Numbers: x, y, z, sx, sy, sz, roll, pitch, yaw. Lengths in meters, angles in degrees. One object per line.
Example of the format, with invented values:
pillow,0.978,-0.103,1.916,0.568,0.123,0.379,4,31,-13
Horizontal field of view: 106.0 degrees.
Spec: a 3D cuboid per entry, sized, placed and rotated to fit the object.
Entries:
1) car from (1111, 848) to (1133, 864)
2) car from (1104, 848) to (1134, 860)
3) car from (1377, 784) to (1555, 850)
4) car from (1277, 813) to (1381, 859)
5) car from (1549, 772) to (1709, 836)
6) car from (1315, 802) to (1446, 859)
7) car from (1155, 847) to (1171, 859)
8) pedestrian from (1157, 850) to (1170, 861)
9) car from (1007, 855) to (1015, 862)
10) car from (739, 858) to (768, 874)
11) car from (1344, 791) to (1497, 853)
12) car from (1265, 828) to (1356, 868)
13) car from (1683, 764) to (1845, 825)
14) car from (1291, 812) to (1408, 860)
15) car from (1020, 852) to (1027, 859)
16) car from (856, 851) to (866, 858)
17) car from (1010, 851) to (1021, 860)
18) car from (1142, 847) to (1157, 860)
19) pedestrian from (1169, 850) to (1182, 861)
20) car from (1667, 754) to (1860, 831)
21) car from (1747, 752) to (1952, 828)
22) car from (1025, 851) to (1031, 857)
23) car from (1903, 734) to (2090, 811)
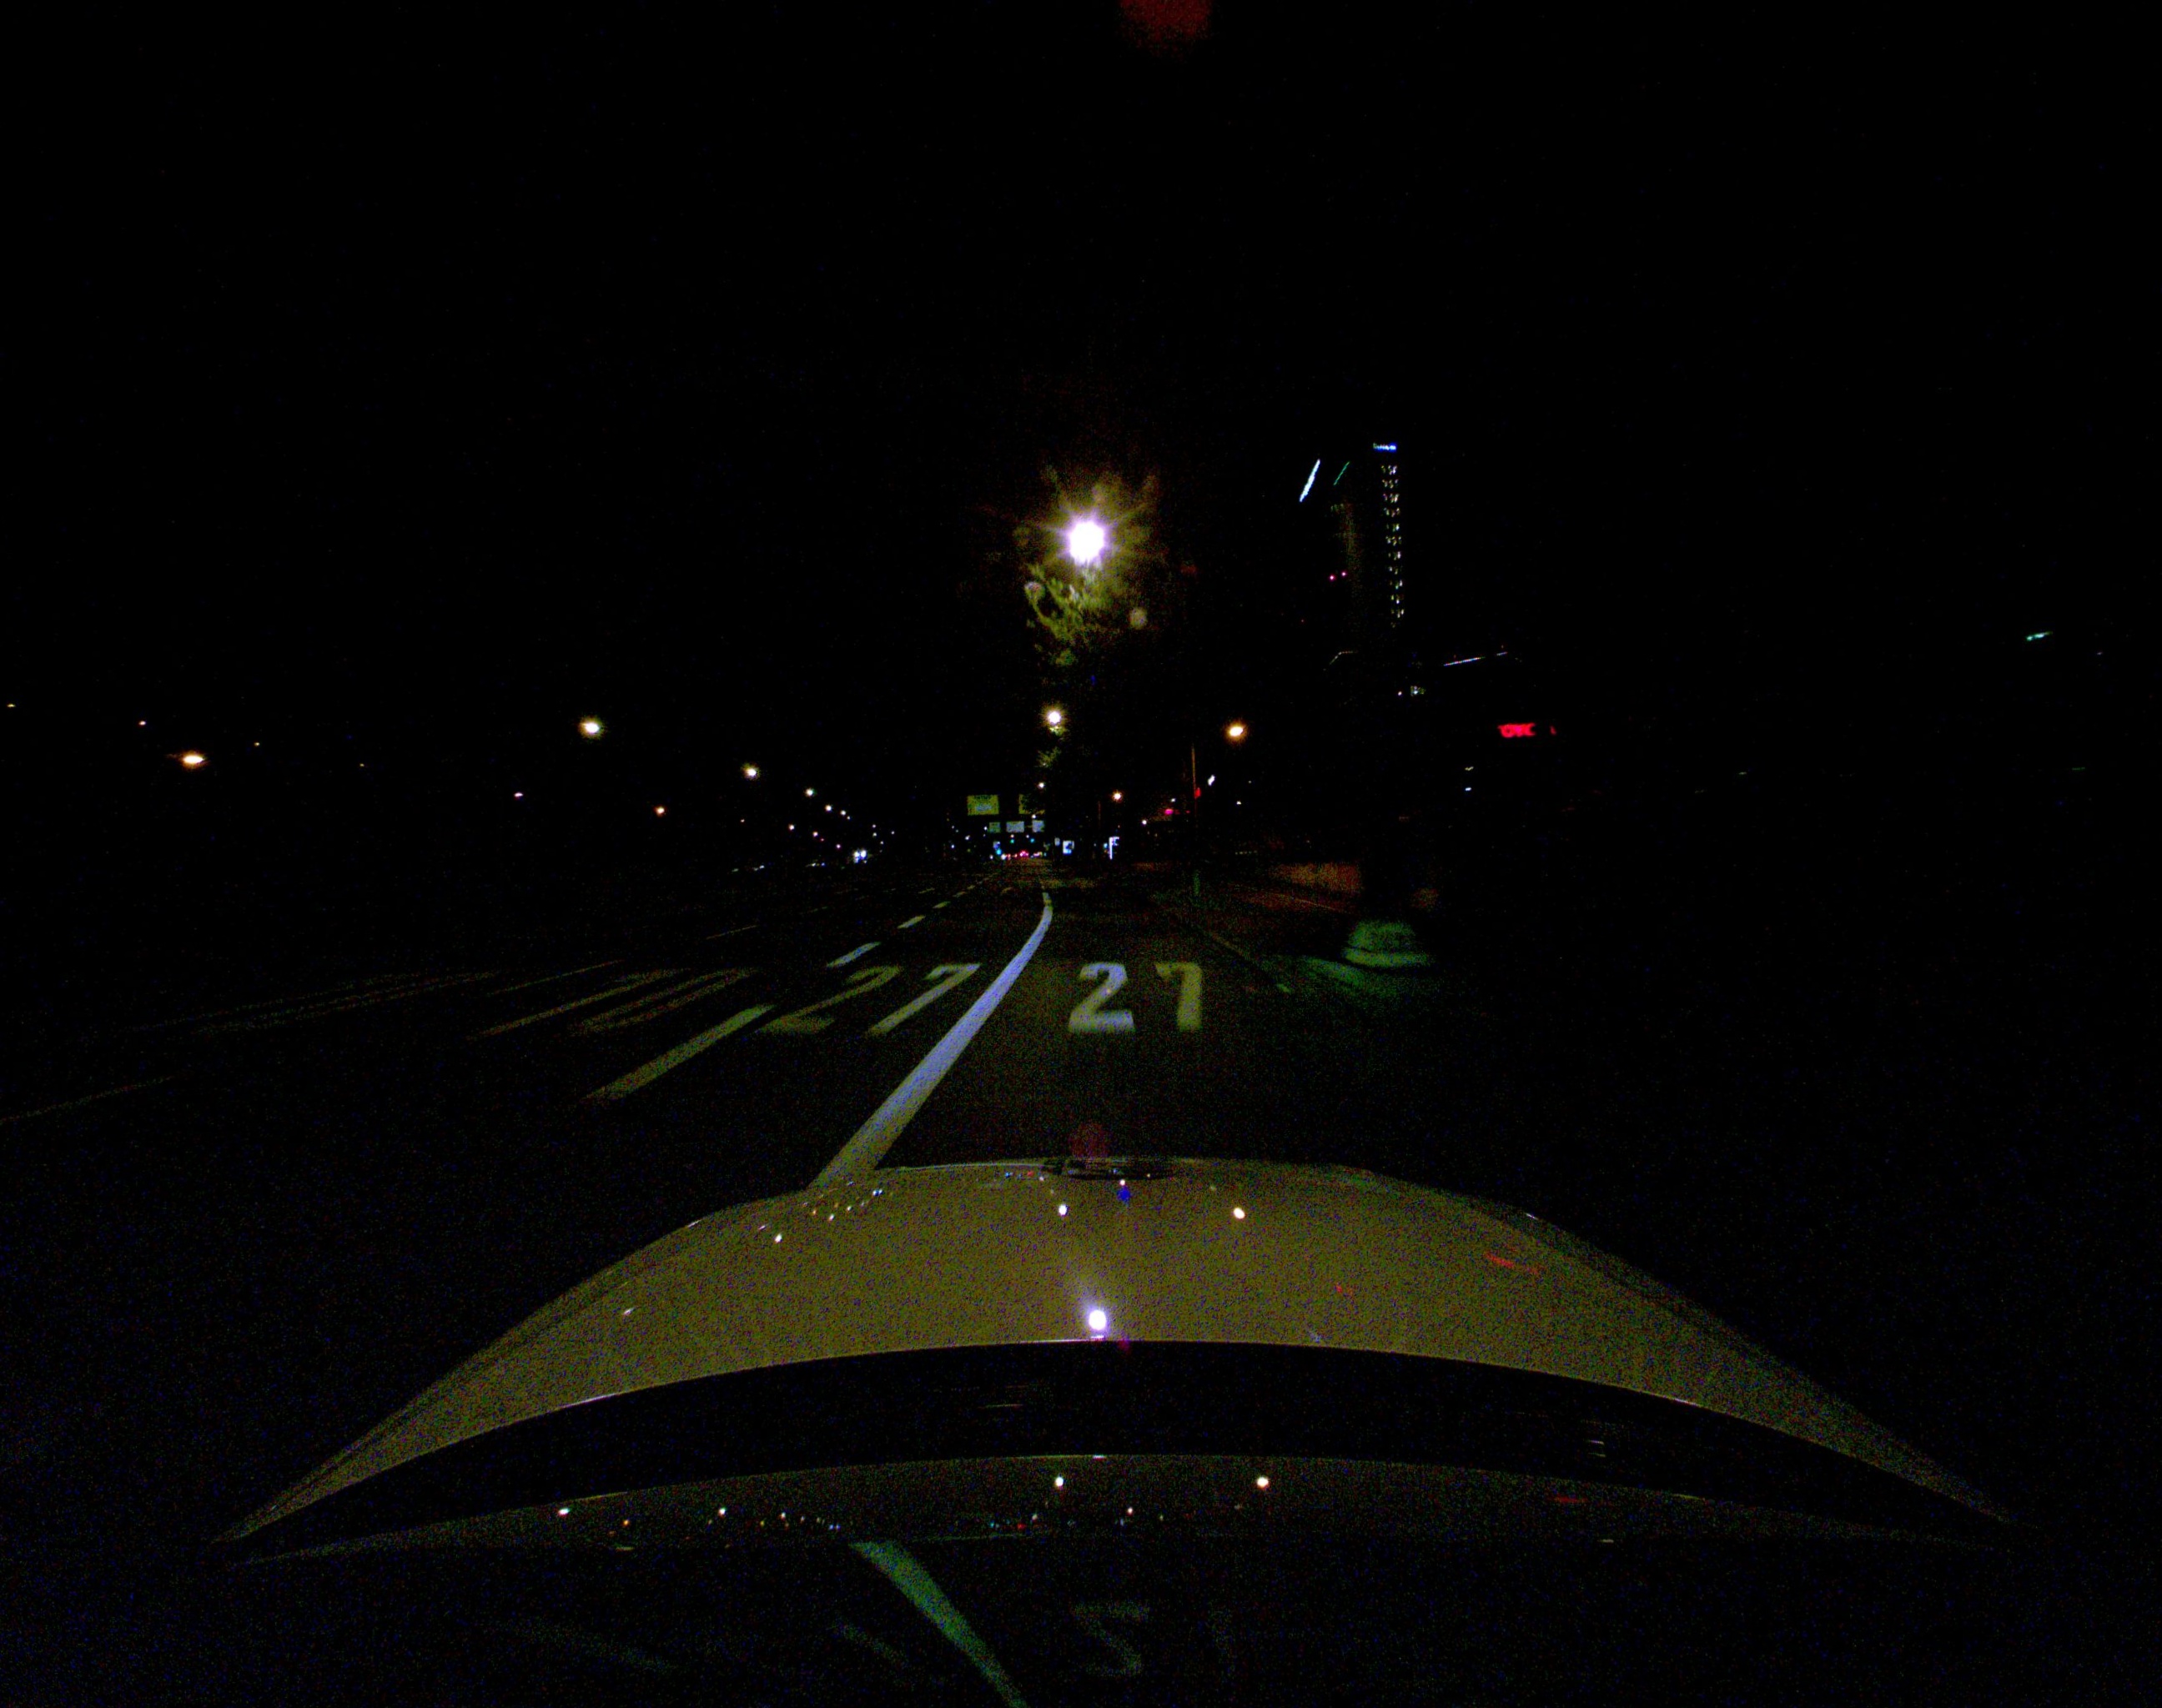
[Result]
car,5.052,0.273,100.535,1.979,1.945,4.014,-1,-2,14
car,4.942,-0.010,105.464,3.621,1.451,1.703,0,-2,-8
car,10.788,-1.009,23.024,4.109,1.522,1.821,-3,-2,-3
car,9.989,-0.712,32.956,3.560,1.570,1.722,-4,-1,-8
car,19.227,-1.720,28.701,4.348,1.725,1.750,-5,-1,-2
car,10.211,-0.783,27.935,3.741,1.587,1.777,-4,-2,-5
car,10.971,-0.111,108.989,1.884,1.511,3.639,0,-2,3
pedestrian,7.926,0.147,78.380,0.902,1.038,0.776,-3,-1,40
car,-18.796,1.265,218.559,1.989,1.596,3.994,-2,-1,-4
car,-36.020,1.324,89.666,1.828,1.685,3.992,0,-2,-5
car,10.487,-0.961,25.356,3.977,1.571,1.737,-4,-2,-3
car,10.290,-0.271,36.411,3.859,1.490,1.721,-3,-3,-34
car,25.507,-2.207,30.496,4.571,1.910,1.995,-3,-1,-7
car,9.968,-0.638,30.381,3.719,1.489,1.738,-3,-2,-6
car,-16.774,0.373,237.190,1.990,2.014,3.994,0,-2,-4
car,-53.068,0.084,196.780,1.621,1.481,3.675,0,-2,-3
car,-13.190,0.326,163.447,1.962,1.711,3.997,0,-2,-1
car,8.984,-0.044,107.463,1.884,1.511,3.639,0,-2,3
pedestrian,9.122,0.133,78.415,1.001,1.008,0.766,0,-2,-19
car,19.795,-1.757,23.765,3.975,1.731,1.837,-5,-2,-1
car,19.612,-1.613,20.892,3.630,1.470,1.636,-5,-2,0
car,-16.011,0.139,243.968,1.777,1.728,3.994,0,-2,-4
car,27.098,-2.393,24.171,3.805,1.895,1.748,-3,-1,-7
